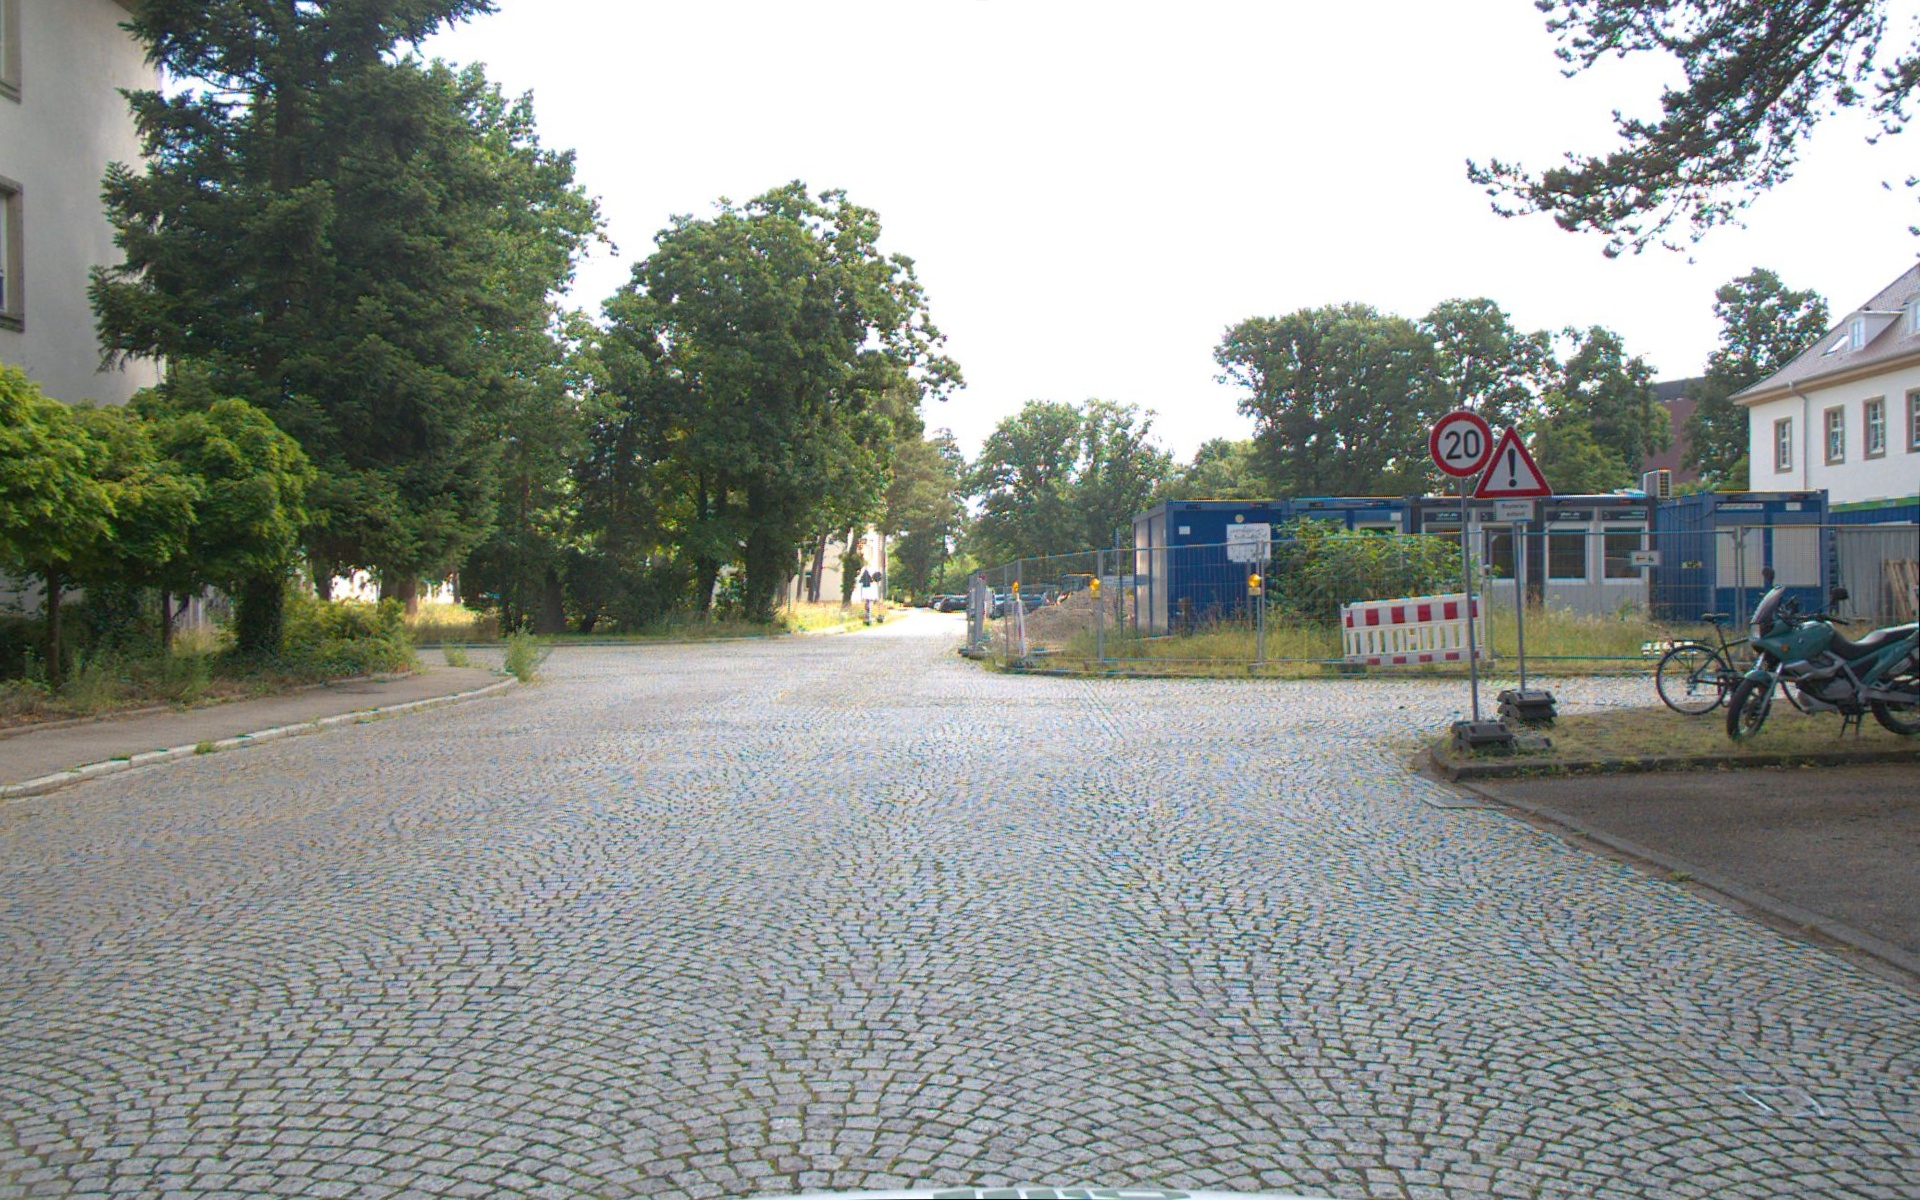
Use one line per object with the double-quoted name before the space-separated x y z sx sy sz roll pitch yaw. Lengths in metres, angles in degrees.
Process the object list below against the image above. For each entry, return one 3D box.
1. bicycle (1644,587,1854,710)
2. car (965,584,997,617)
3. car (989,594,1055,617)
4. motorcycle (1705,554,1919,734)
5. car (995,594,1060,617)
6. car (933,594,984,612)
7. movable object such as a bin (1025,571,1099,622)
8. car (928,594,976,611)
"bicycle" 8.068 0.495 16.996 1.859 1.218 0.656 -1 0 20
"car" 1.333 0.030 105.673 1.953 2.049 4.090 0 0 -1
"car" 4.265 0.376 112.933 4.308 1.537 2.002 1 0 8
"motorcycle" 7.879 0.368 14.641 2.232 1.511 0.756 -1 0 -5
"car" 4.750 0.378 115.699 4.308 1.537 2.002 1 0 8
"car" -0.140 0.278 156.940 4.687 1.669 1.998 0 0 -5
"movable object such as a bin" 5.495 -0.178 88.367 2.088 2.638 4.783 0 0 29
"car" -0.804 0.254 163.304 4.687 1.669 1.998 0 0 -5
